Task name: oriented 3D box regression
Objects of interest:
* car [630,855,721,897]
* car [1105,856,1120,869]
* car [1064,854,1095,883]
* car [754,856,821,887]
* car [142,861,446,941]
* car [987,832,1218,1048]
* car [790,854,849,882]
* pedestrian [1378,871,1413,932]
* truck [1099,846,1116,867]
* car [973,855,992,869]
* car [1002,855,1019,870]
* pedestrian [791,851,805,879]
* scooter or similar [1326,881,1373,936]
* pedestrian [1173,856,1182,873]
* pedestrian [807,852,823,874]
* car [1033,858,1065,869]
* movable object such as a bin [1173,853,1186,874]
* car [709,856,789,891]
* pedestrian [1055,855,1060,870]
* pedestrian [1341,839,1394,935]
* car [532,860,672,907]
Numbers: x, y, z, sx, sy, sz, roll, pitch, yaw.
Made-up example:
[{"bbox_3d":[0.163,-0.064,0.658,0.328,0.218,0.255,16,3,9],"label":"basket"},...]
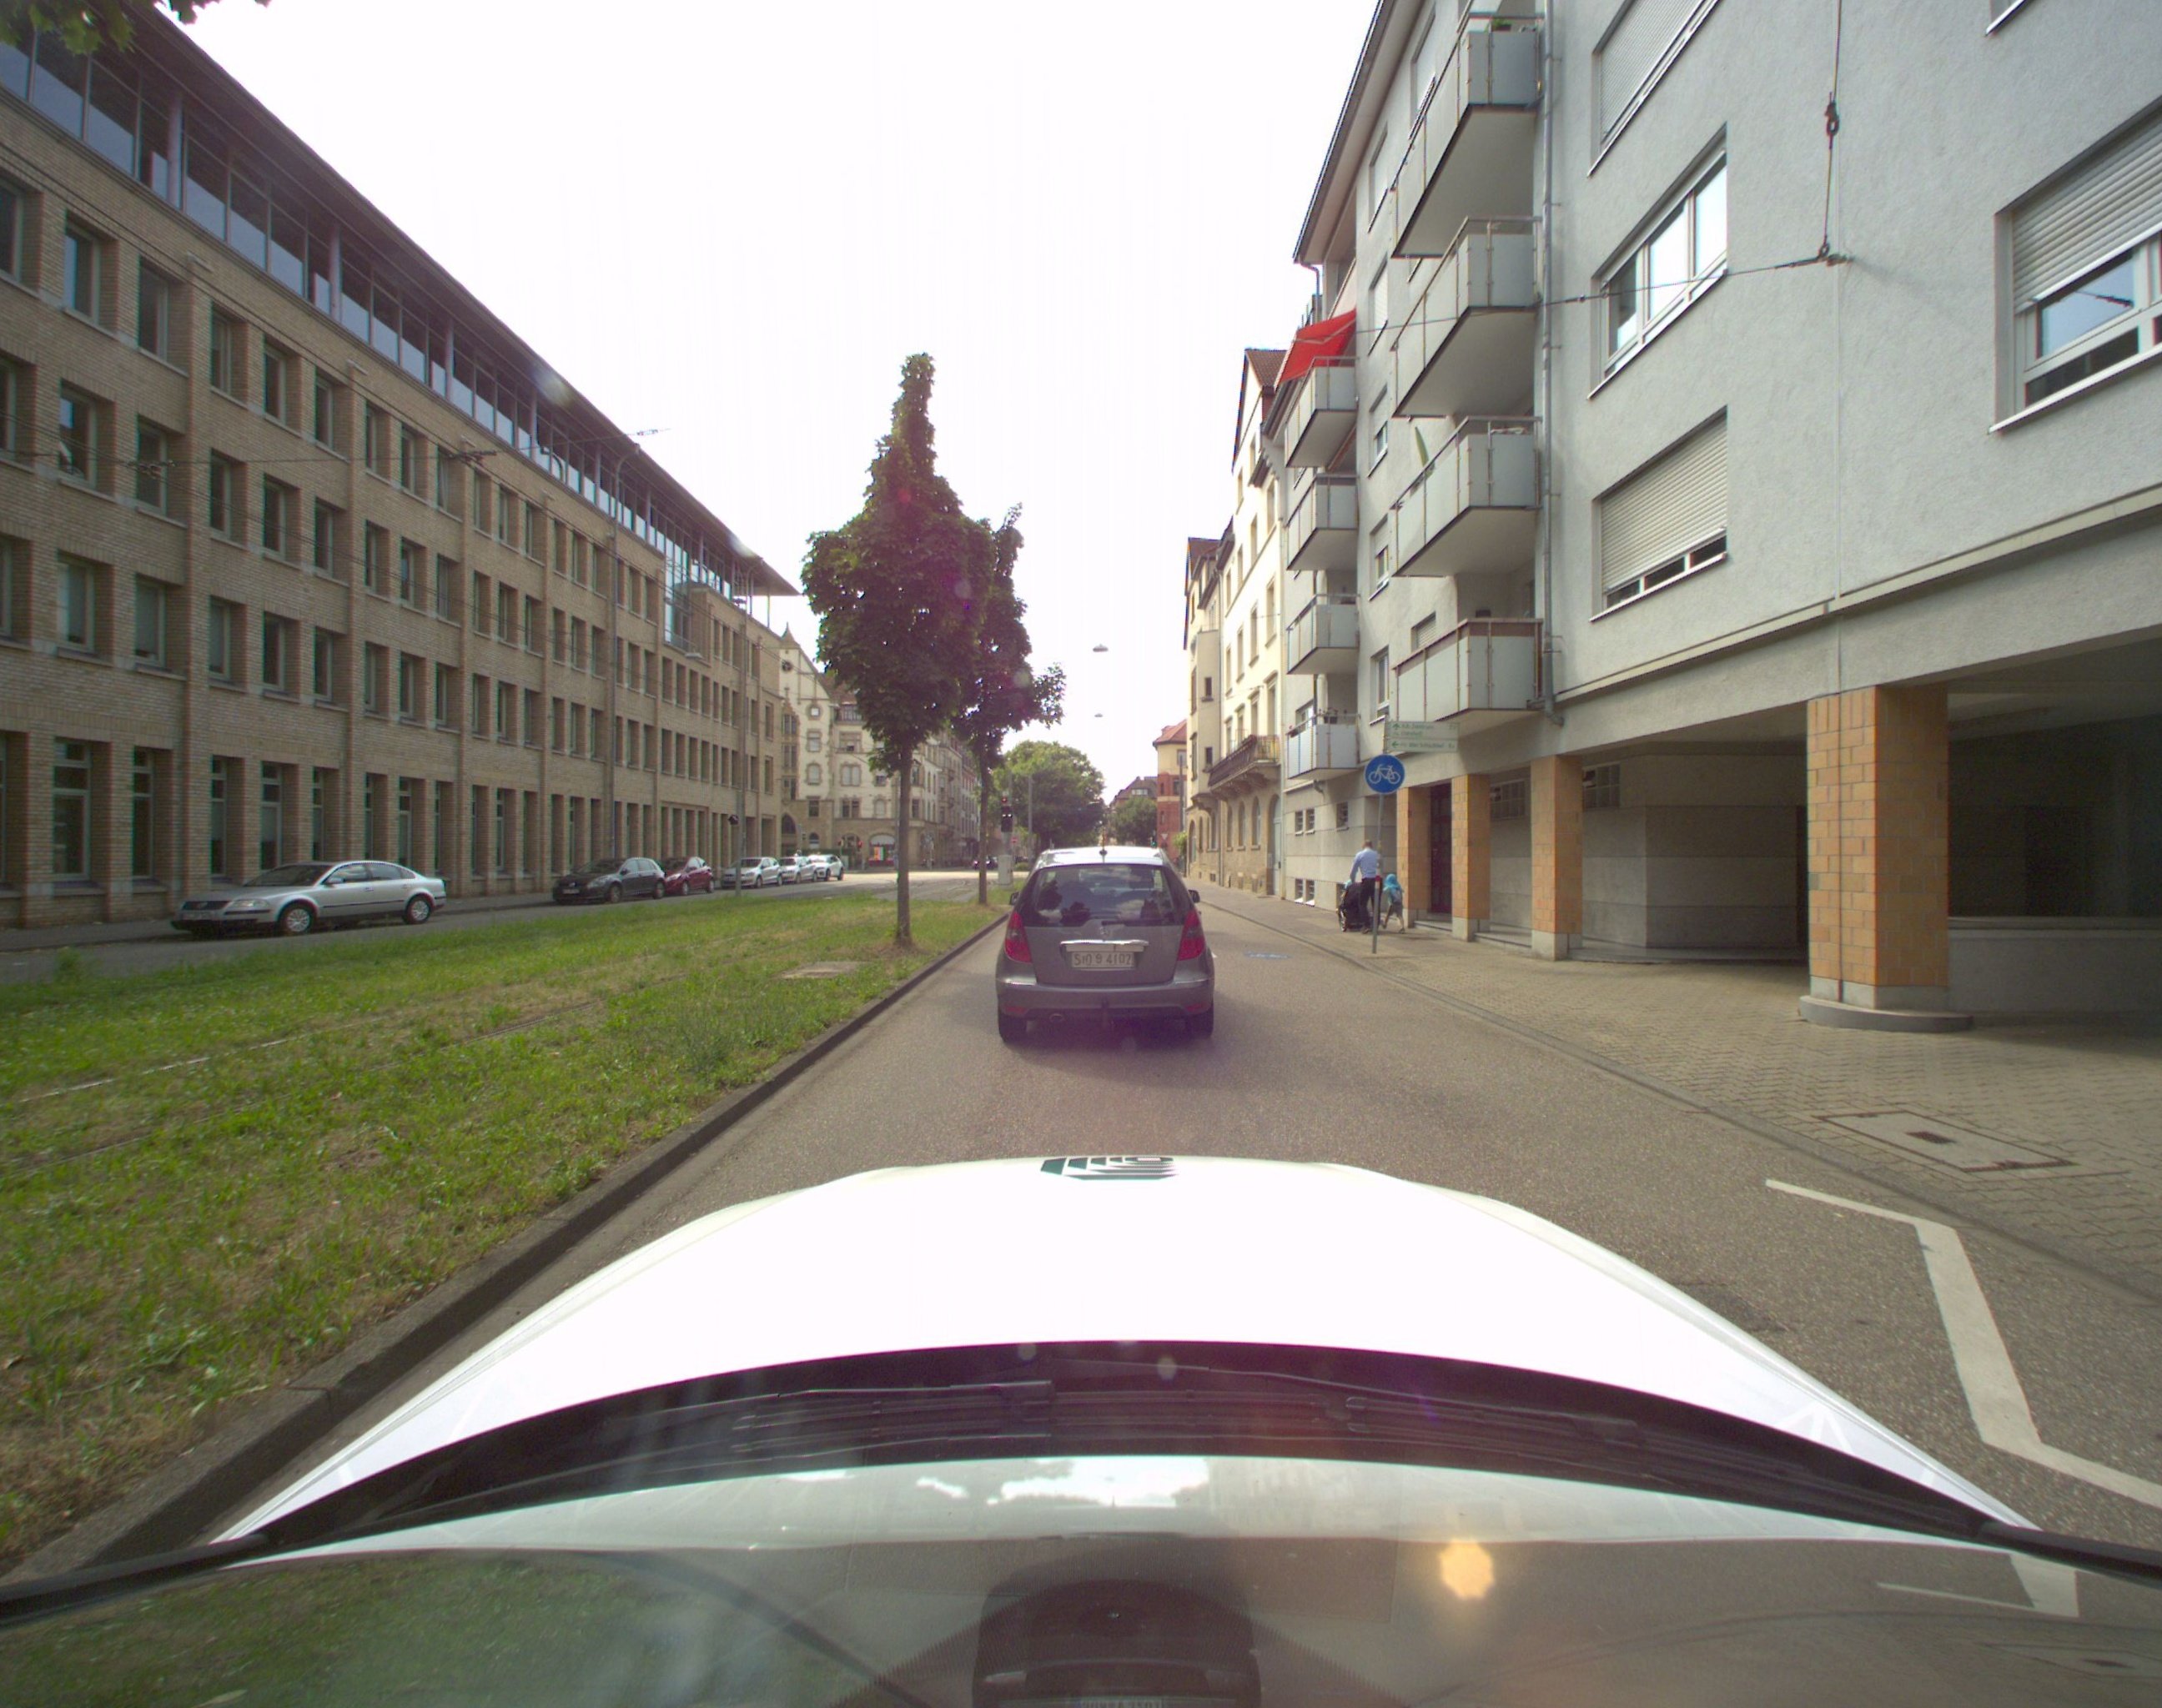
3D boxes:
[{"bbox_3d":[-15.411,0.799,31.123,1.577,1.530,3.551,0,0,2],"label":"car"},{"bbox_3d":[3.989,1.071,104.072,1.744,1.633,3.504,0,0,5],"label":"car"},{"bbox_3d":[-0.056,0.851,49.197,1.716,1.706,3.678,-1,0,2],"label":"car"},{"bbox_3d":[-15.332,0.890,42.799,1.925,1.530,4.016,0,0,2],"label":"car"},{"bbox_3d":[-15.606,0.846,16.585,1.708,1.396,4.486,0,0,2],"label":"car"},{"bbox_3d":[0.218,0.656,7.948,1.716,1.605,3.678,-1,0,2],"label":"car"},{"bbox_3d":[-15.187,0.793,47.509,1.925,1.535,4.260,0,0,2],"label":"car"},{"bbox_3d":[6.025,0.900,15.619,0.454,1.135,0.494,-2,0,1],"label":"pedestrian"},{"bbox_3d":[3.815,0.416,116.928,2.113,2.970,4.005,-1,0,5],"label":"truck"},{"bbox_3d":[-11.615,0.944,96.162,1.990,1.618,3.994,-1,0,-4],"label":"car"},{"bbox_3d":[-8.436,0.984,97.624,1.990,1.728,3.994,-1,0,-4],"label":"car"},{"bbox_3d":[-18.346,0.731,52.826,0.763,1.795,0.952,0,-1,-24],"label":"pedestrian"},{"bbox_3d":[5.317,1.066,16.158,0.590,1.002,0.906,-4,0,2],"label":"scooter or similar"},{"bbox_3d":[9.508,1.057,80.237,0.865,1.656,0.737,0,0,5],"label":"pedestrian"},{"bbox_3d":[-21.502,0.733,65.830,1.029,1.722,0.767,1,-1,-43],"label":"pedestrian"},{"bbox_3d":[-3.916,1.127,98.865,1.984,1.339,3.954,0,0,-38],"label":"car"},{"bbox_3d":[7.227,0.701,59.656,0.714,1.472,0.980,-1,-1,-8],"label":"movable object such as a bin"},{"bbox_3d":[-15.270,0.845,37.725,1.844,1.530,4.212,0,0,2],"label":"car"},{"bbox_3d":[-2.746,0.982,94.165,0.492,1.725,0.652,0,-1,-6],"label":"pedestrian"},{"bbox_3d":[5.420,0.607,15.427,0.618,1.738,0.877,-3,0,2],"label":"pedestrian"},{"bbox_3d":[-15.397,0.901,26.495,1.925,1.396,4.241,0,0,2],"label":"car"}]
